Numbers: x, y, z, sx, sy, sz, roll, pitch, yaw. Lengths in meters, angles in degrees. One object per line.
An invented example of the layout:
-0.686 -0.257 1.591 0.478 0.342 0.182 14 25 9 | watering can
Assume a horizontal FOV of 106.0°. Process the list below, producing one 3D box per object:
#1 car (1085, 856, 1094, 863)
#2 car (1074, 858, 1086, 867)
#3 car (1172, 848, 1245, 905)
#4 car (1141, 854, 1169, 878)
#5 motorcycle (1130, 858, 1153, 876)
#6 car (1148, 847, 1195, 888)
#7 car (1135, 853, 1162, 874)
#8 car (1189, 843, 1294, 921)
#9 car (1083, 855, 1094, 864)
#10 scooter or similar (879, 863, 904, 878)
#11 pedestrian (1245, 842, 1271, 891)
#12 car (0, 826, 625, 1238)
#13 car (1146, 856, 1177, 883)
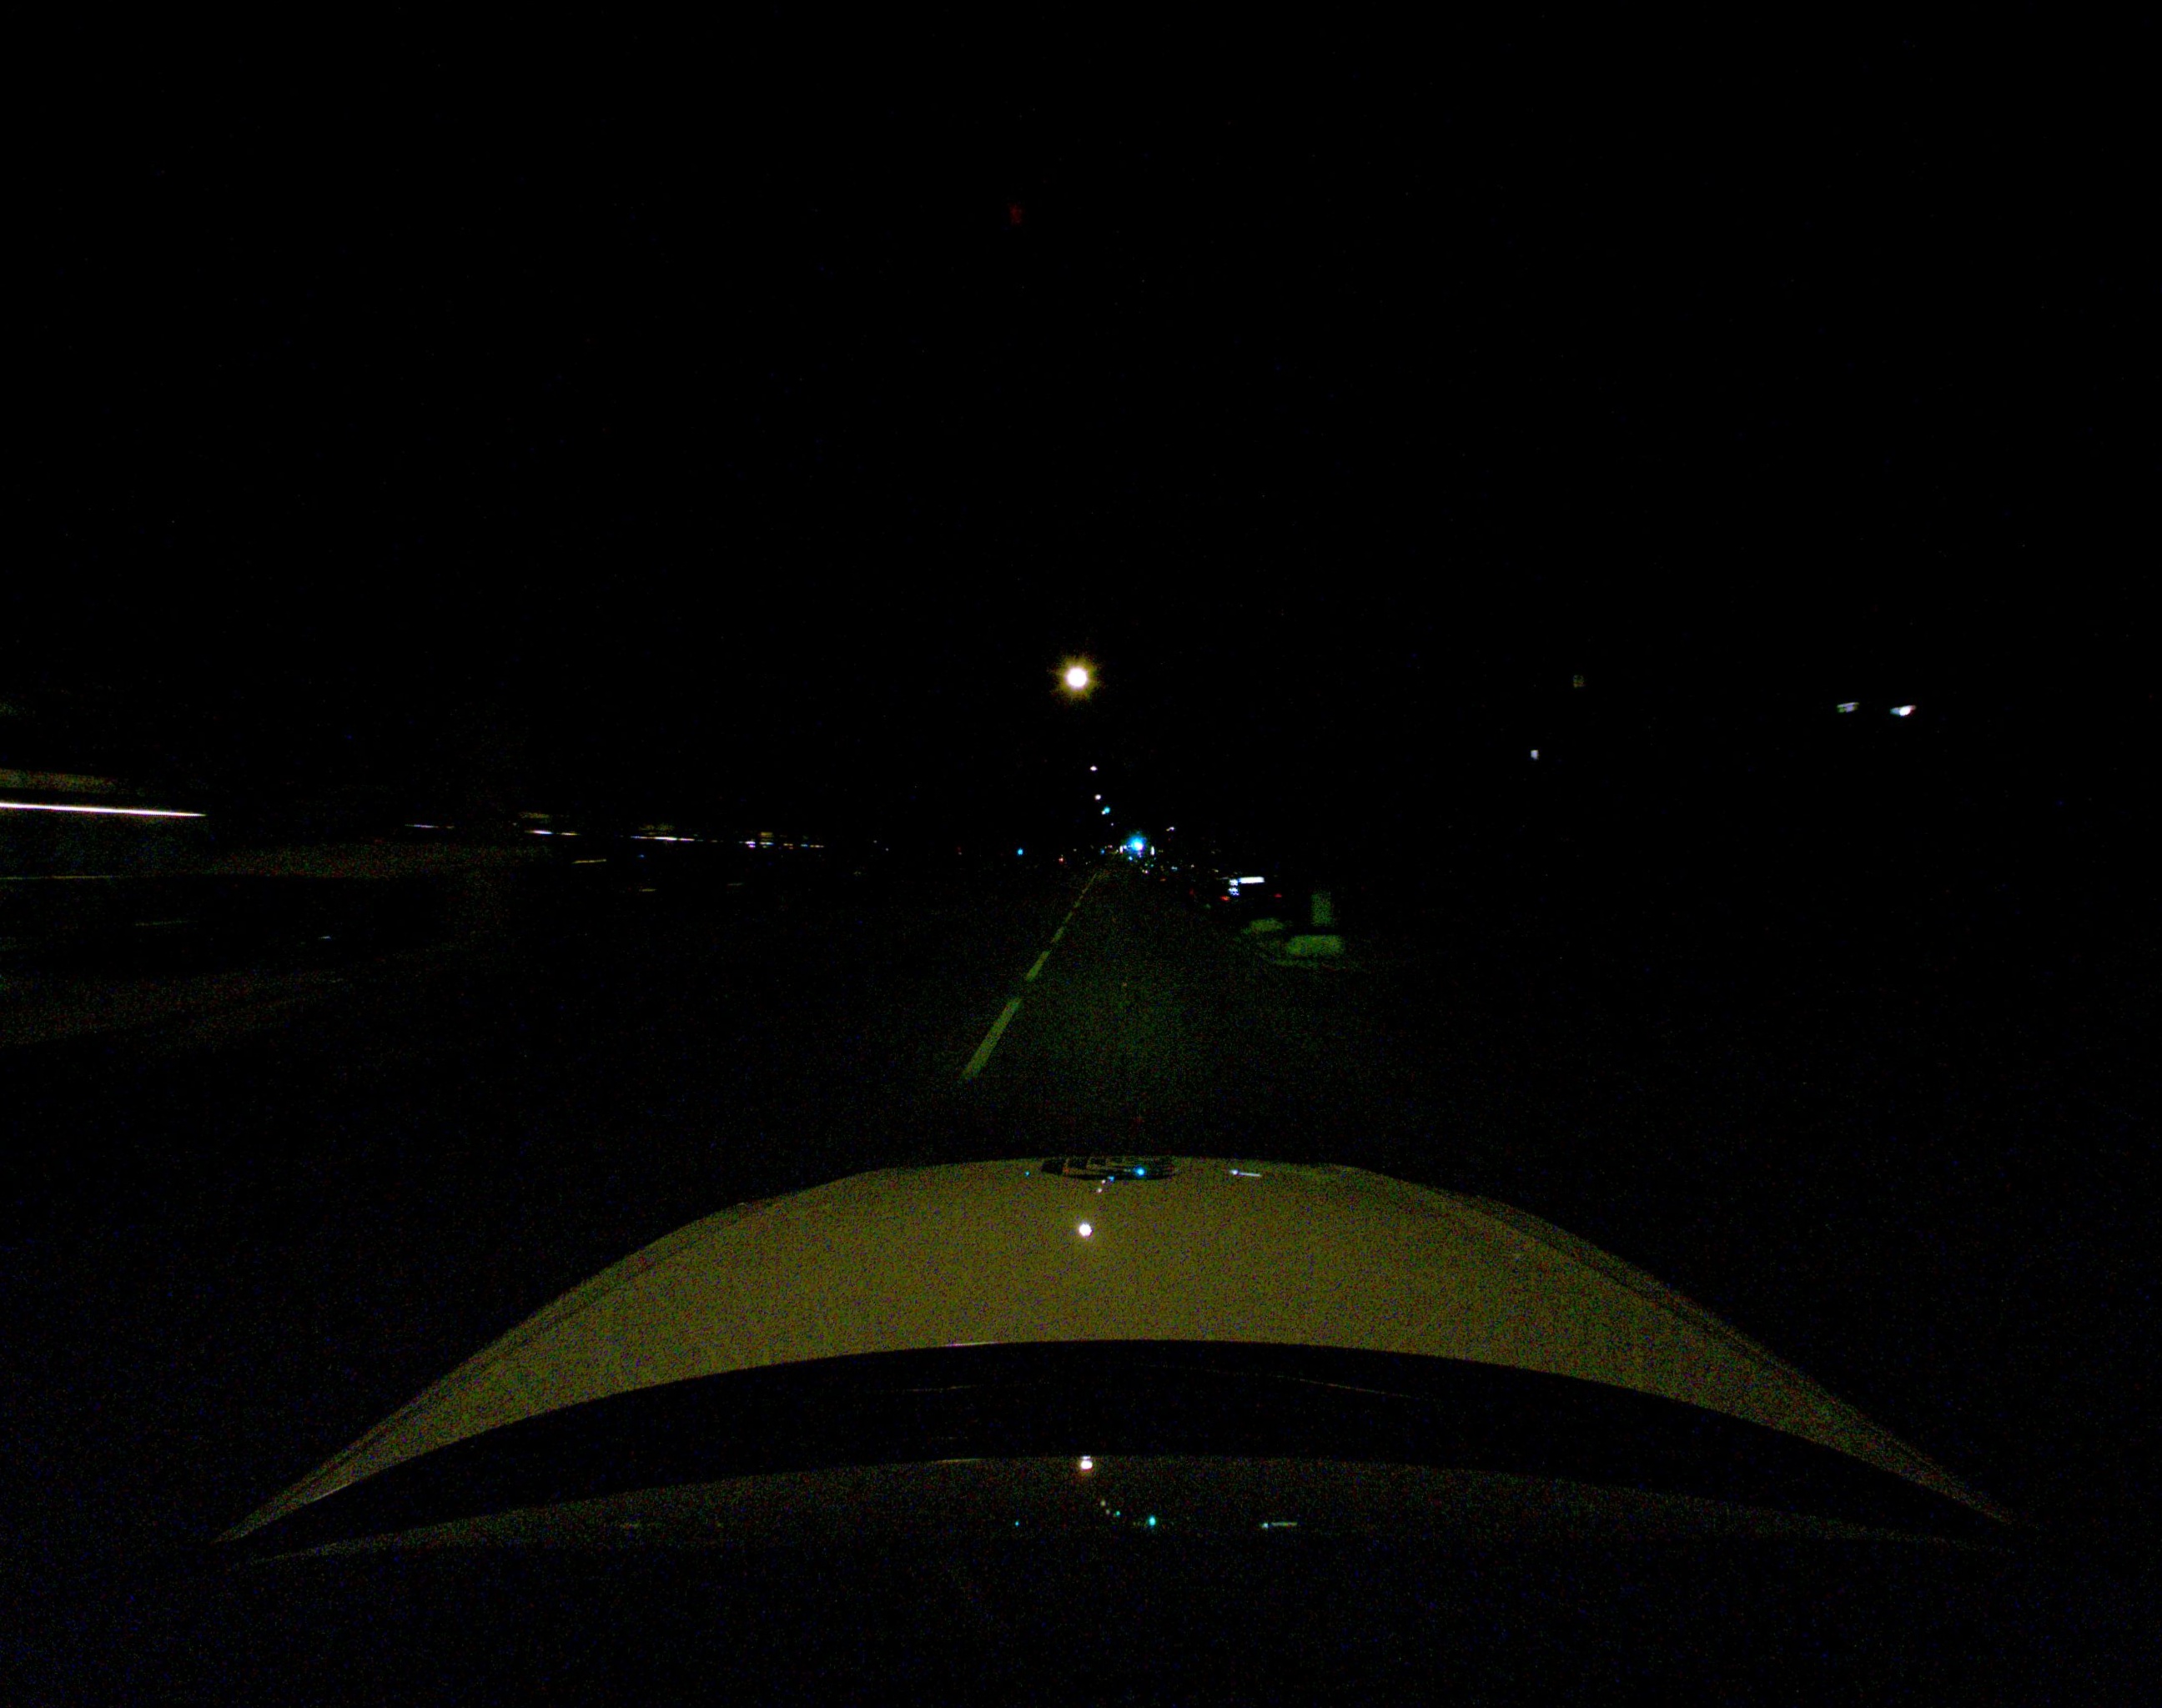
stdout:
1.871 1.090 171.416 1.734 1.416 3.754 -1 0 2 | car
-0.090 1.323 128.377 1.734 1.416 3.754 -1 0 2 | car
3.980 0.690 26.032 1.845 1.604 4.212 -2 -1 3 | car
5.177 0.810 57.408 1.585 1.534 4.139 -3 0 1 | car
4.522 0.980 60.815 0.630 1.270 2.077 -1 0 37 | motorcycle
4.429 0.636 40.488 1.766 1.807 4.276 -3 0 -1 | car
5.349 0.756 64.864 1.846 1.590 4.301 -2 0 1 | car
3.902 0.632 20.470 1.846 1.654 4.210 -3 0 1 | car
1.285 0.969 143.467 1.734 1.415 3.755 -1 2 2 | car
-13.976 1.215 60.177 1.667 1.008 0.545 1 0 3 | scooter or similar
6.442 0.459 29.656 0.702 1.721 0.822 -3 -1 2 | pedestrian
-5.439 0.766 5.756 1.815 1.811 4.213 2 0 3 | car
4.545 0.839 46.446 1.514 1.396 3.987 -3 0 3 | car
